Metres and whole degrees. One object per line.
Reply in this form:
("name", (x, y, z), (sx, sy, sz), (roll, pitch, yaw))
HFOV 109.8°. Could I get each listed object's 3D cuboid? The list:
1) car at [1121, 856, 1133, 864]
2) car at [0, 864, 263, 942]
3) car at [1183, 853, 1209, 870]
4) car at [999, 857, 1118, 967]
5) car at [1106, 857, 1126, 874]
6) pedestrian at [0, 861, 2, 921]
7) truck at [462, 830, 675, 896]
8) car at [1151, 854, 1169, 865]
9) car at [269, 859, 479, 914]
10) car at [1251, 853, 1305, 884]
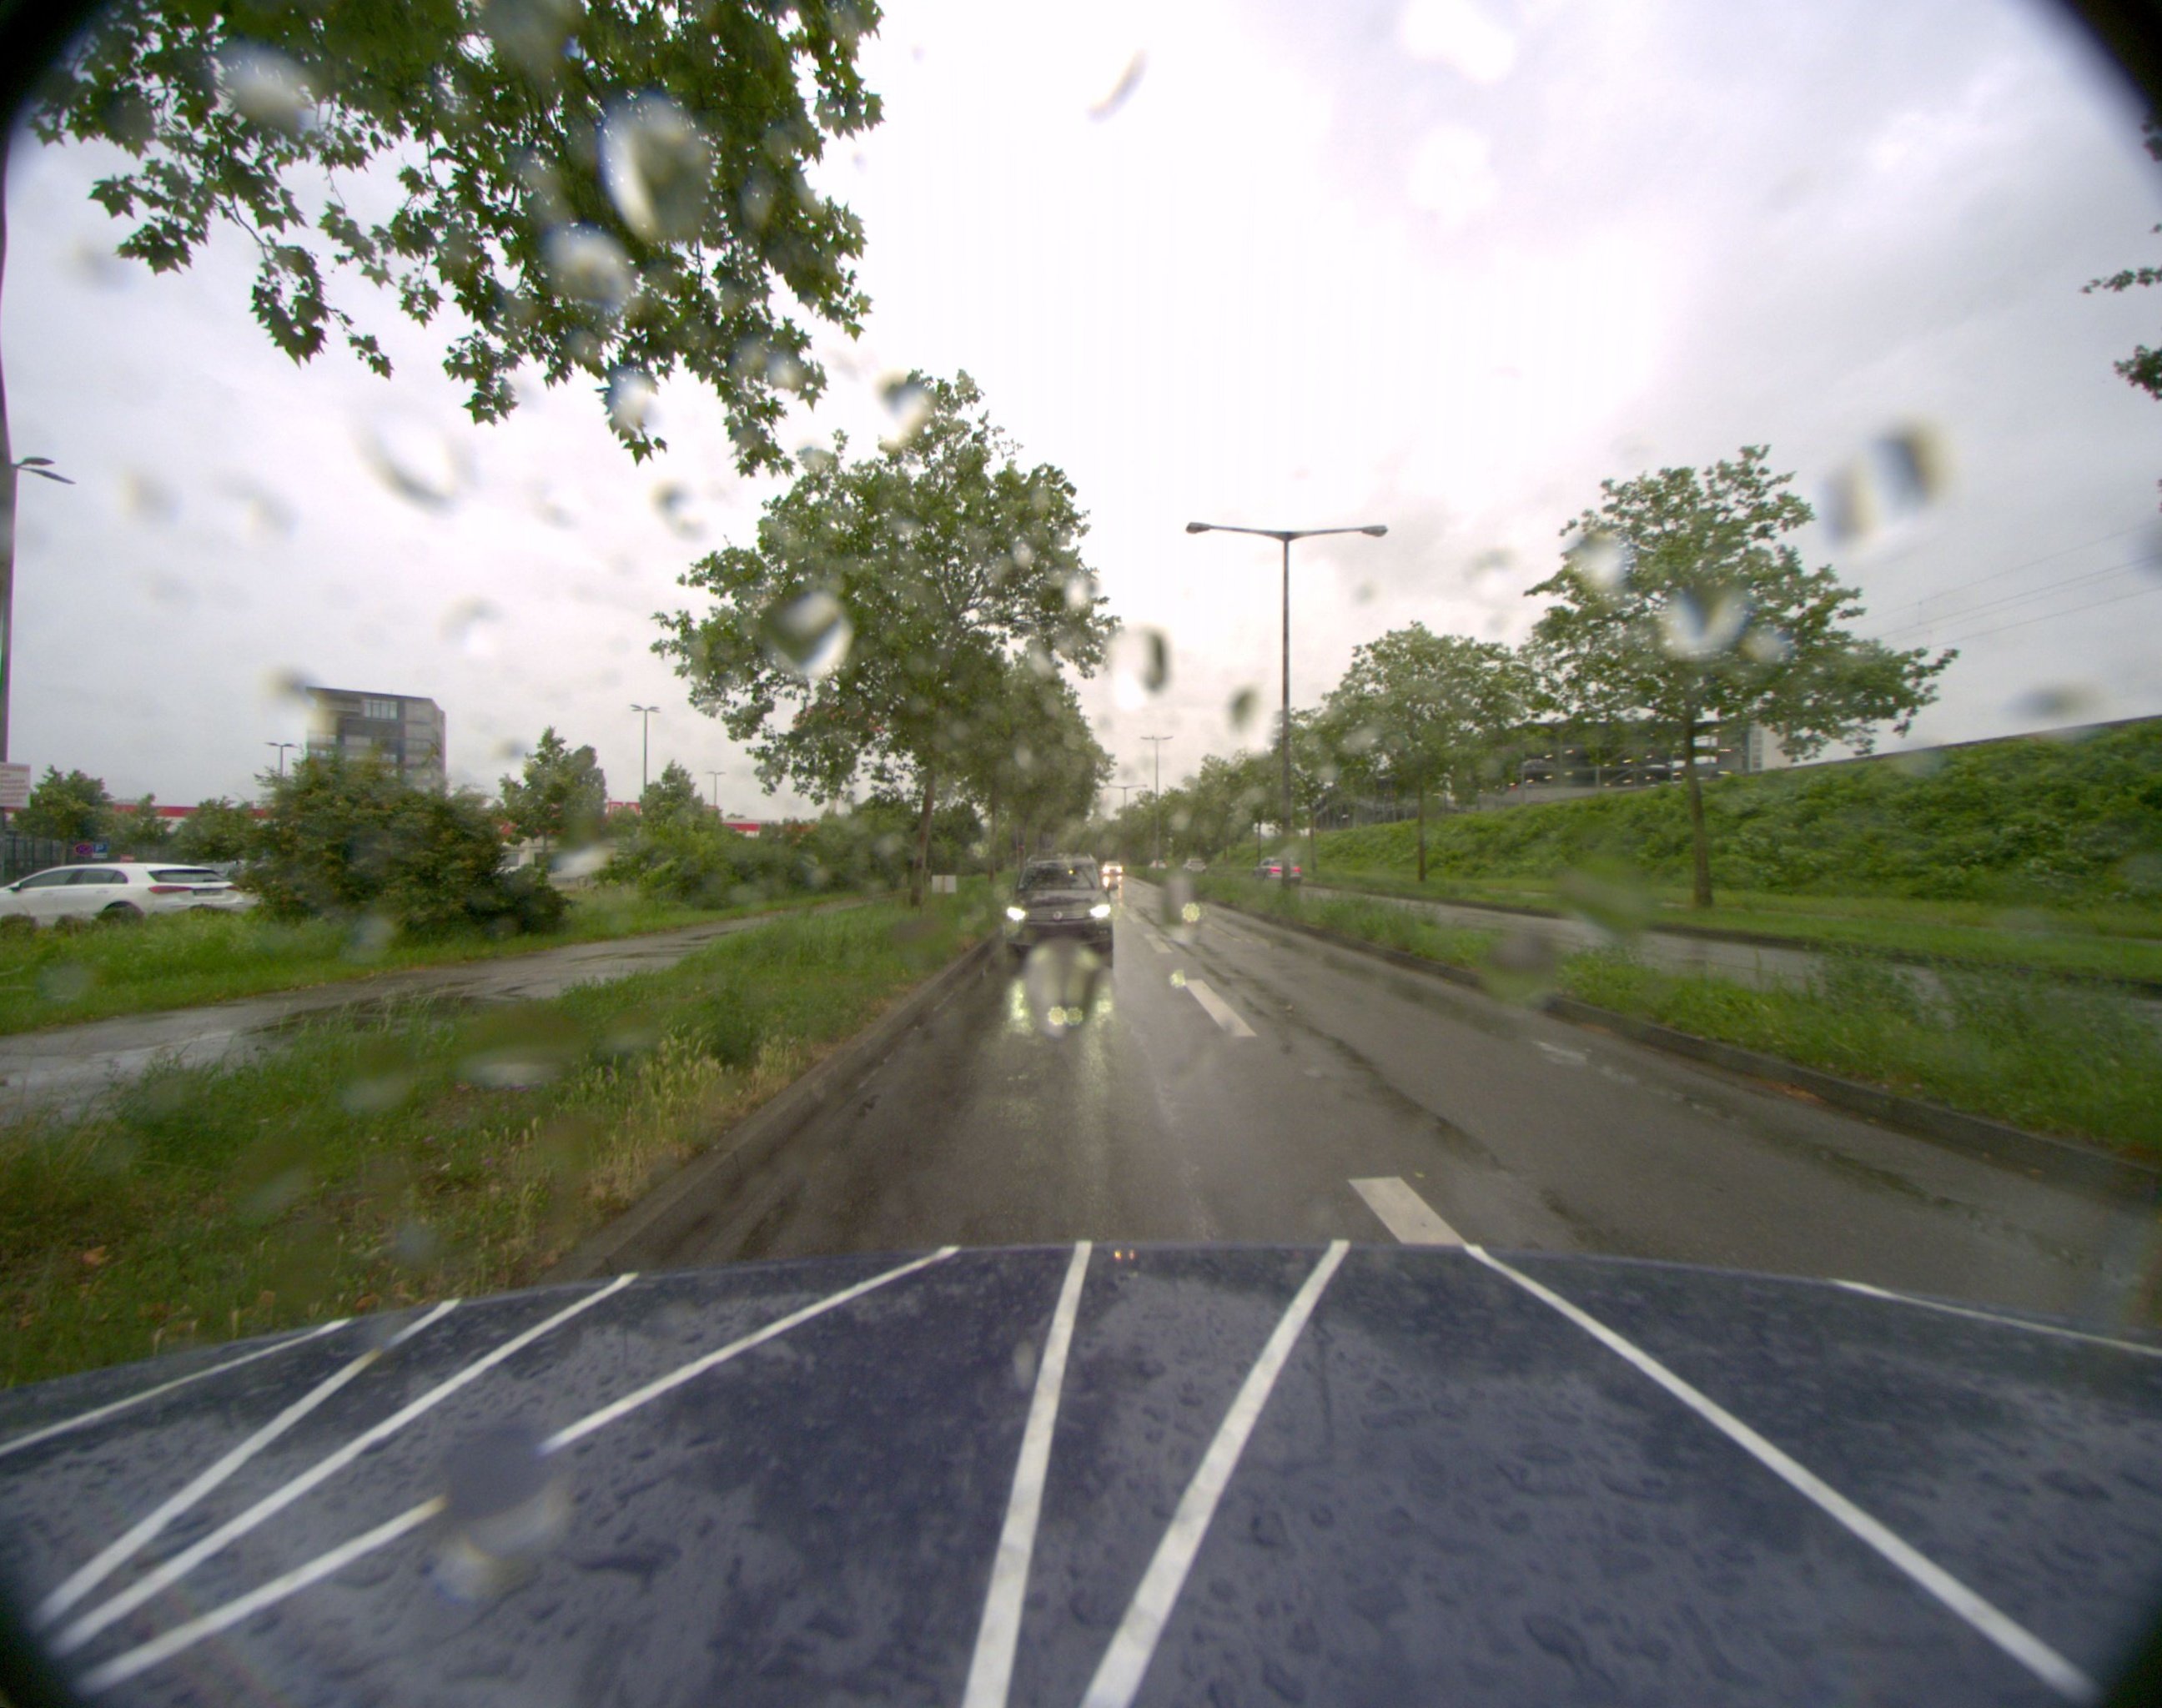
("car", (8.160, 1.020, 136.149), (1.936, 1.436, 3.707), (-1, 0, 0))
("car", (-19.778, 0.959, 15.486), (3.998, 1.357, 1.867), (-2, 1, -3))
("car", (10.913, 0.688, 72.629), (1.861, 1.579, 4.518), (0, 0, 1))
("car", (-0.290, 0.919, 14.215), (1.788, 1.605, 4.717), (-2, 0, 2))
("car", (3.306, 1.072, 72.909), (1.729, 1.470, 4.000), (-2, 0, 1))
("pedestrian", (-32.588, 1.103, 22.296), (0.704, 1.777, 0.799), (0, 0, -4))
("truck", (-19.846, 0.317, 29.729), (6.552, 2.291, 2.219), (-2, 1, -6))
("car", (10.724, 0.679, 103.716), (1.936, 1.436, 4.657), (-1, 0, 0))
("car", (-20.136, 0.892, 21.796), (3.998, 1.357, 1.999), (-2, 1, -3))
("car", (11.099, 0.775, 43.051), (1.861, 1.580, 4.518), (2, 0, 0))
